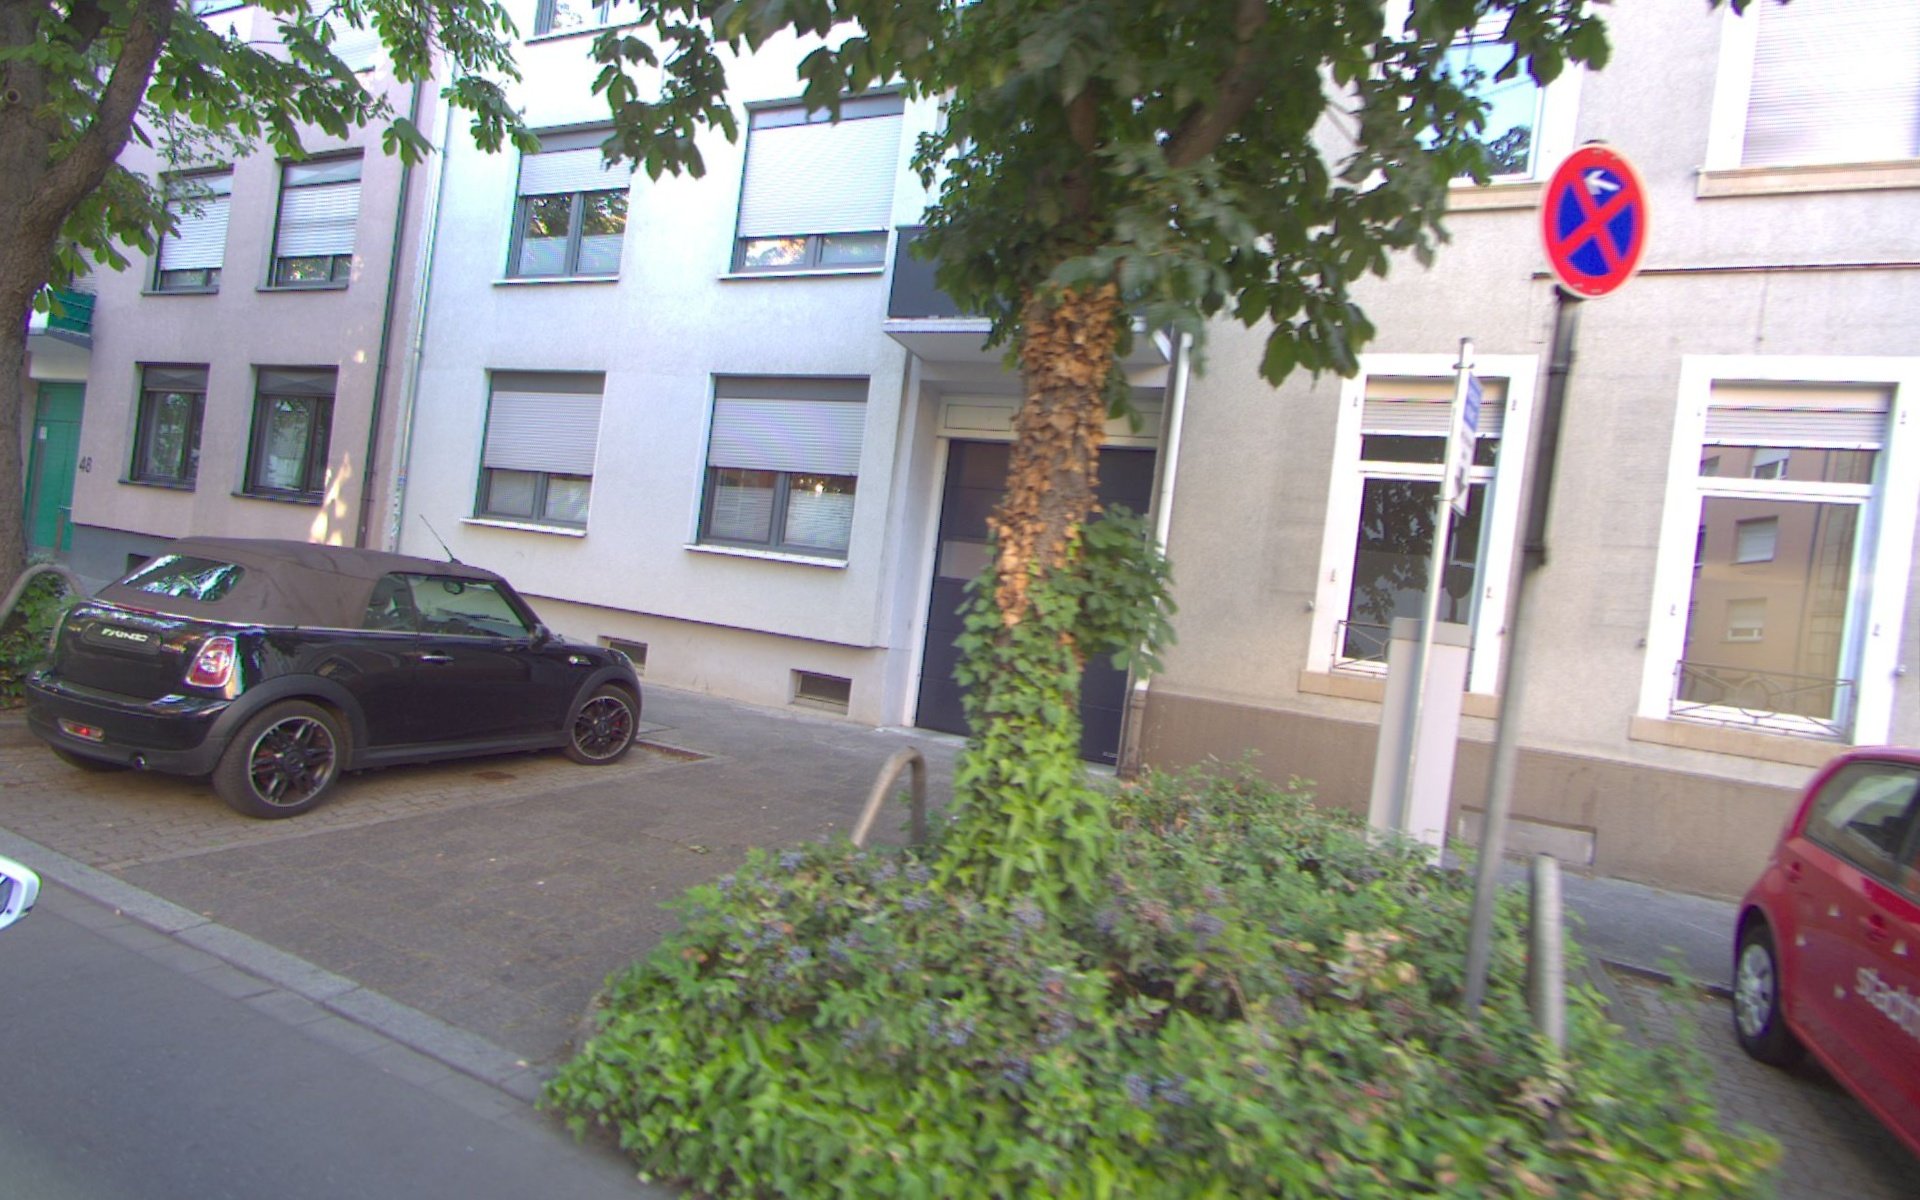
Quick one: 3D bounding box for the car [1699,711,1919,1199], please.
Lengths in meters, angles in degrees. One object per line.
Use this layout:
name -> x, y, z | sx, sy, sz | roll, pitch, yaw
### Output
car -> 3.721, 1.275, 2.977 | 1.537, 1.494, 3.666 | 7, 0, 24

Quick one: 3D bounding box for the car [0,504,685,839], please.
car -> -3.694, 0.346, 6.710 | 1.597, 1.446, 3.711 | 7, 2, 21
